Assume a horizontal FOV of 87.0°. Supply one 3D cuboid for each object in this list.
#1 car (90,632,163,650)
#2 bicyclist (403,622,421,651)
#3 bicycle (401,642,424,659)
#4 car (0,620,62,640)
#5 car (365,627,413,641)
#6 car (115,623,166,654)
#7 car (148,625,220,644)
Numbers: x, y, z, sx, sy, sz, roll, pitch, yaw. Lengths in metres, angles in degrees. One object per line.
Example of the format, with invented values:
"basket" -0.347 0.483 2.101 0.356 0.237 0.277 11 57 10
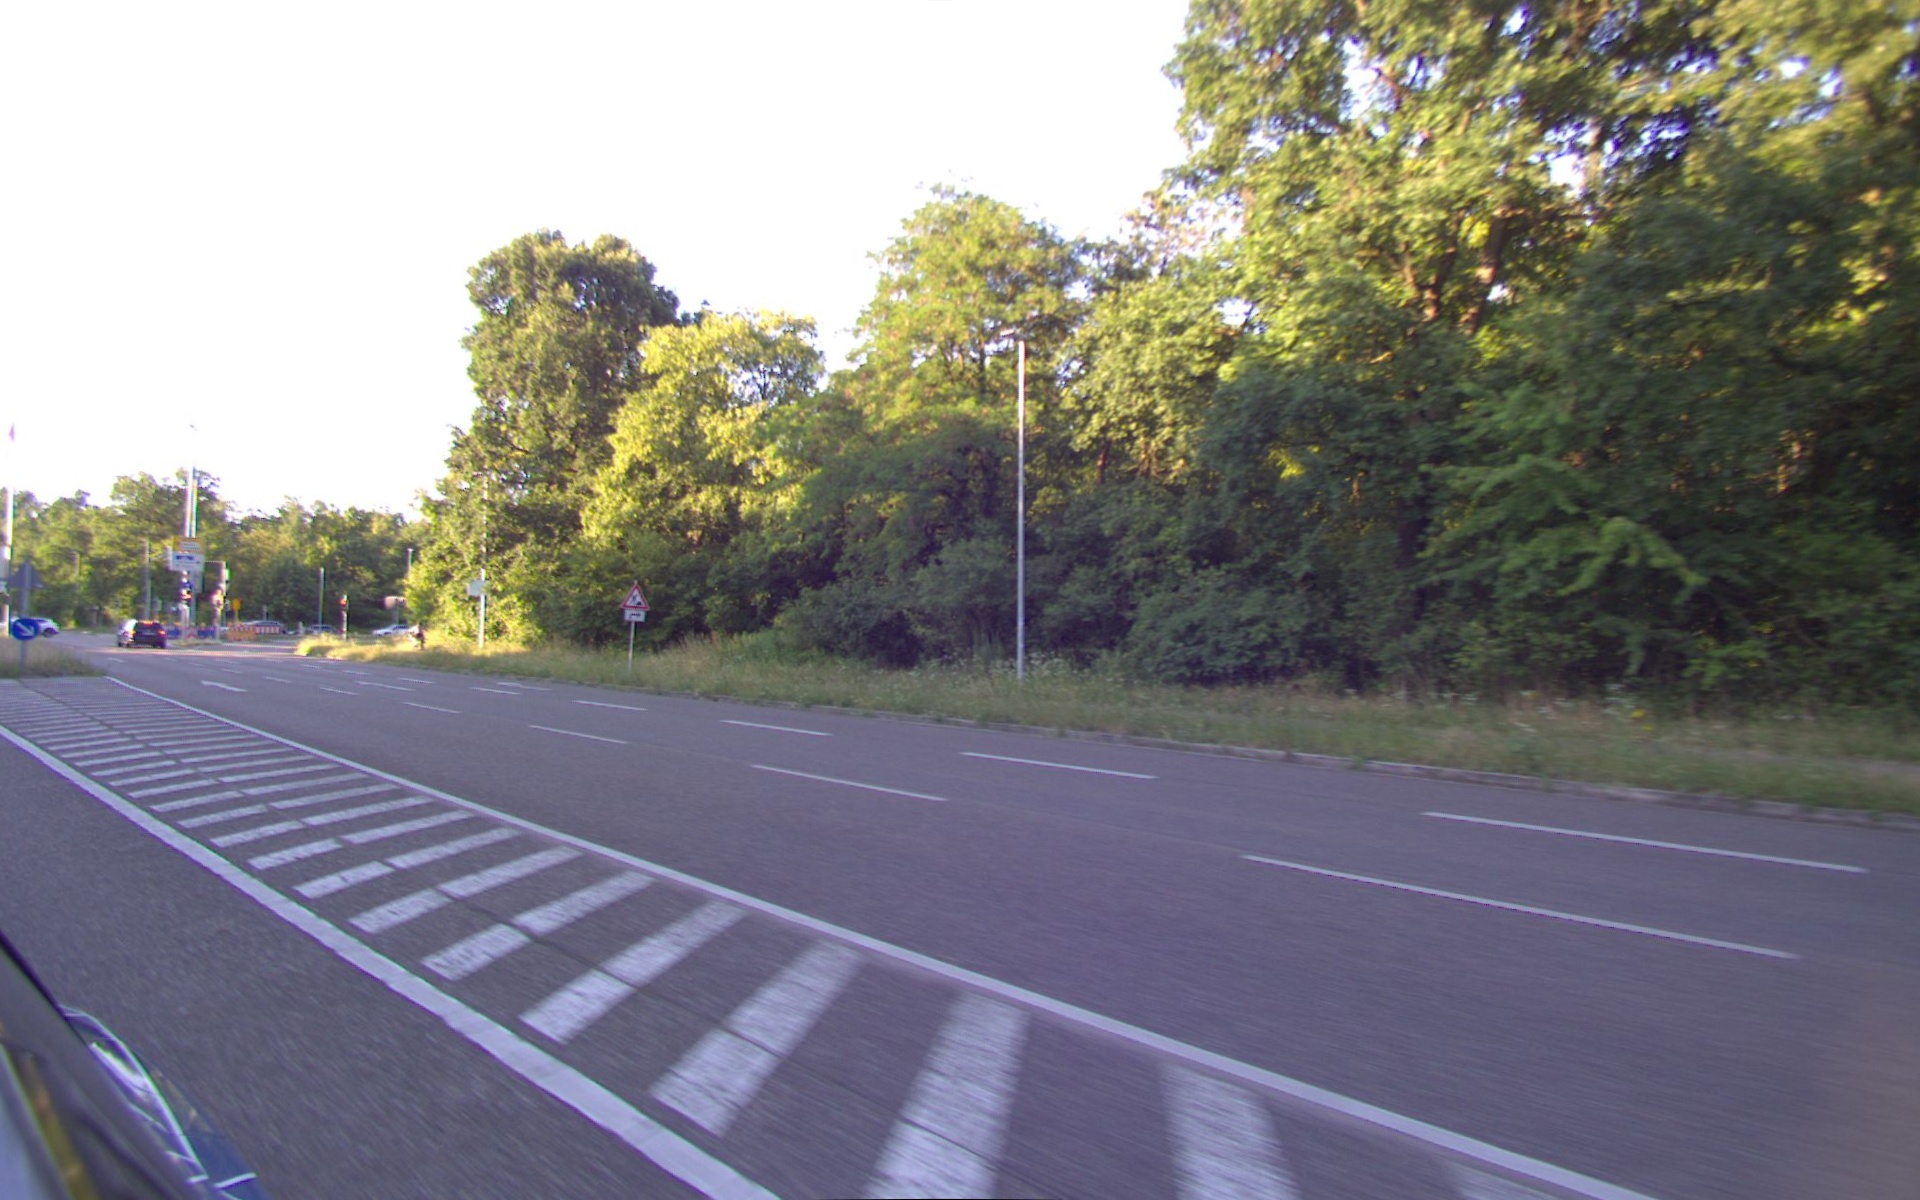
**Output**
"car" -67.621 3.323 82.175 1.712 1.467 4.197 -1 -2 25
"bicyclist" -26.992 1.797 49.830 0.578 1.440 0.823 3 -3 -41
"bicycle" -26.974 2.486 49.877 0.578 0.810 1.961 3 -3 -41
"car" -70.539 2.236 76.111 1.712 1.467 4.197 -1 -2 25
"car" -61.053 3.610 108.337 1.716 1.467 4.188 -1 -2 31
"car" -44.269 2.080 54.635 1.797 1.545 4.460 5 -4 -42
"car" -61.370 2.754 80.094 1.712 1.467 4.197 -1 -2 25
